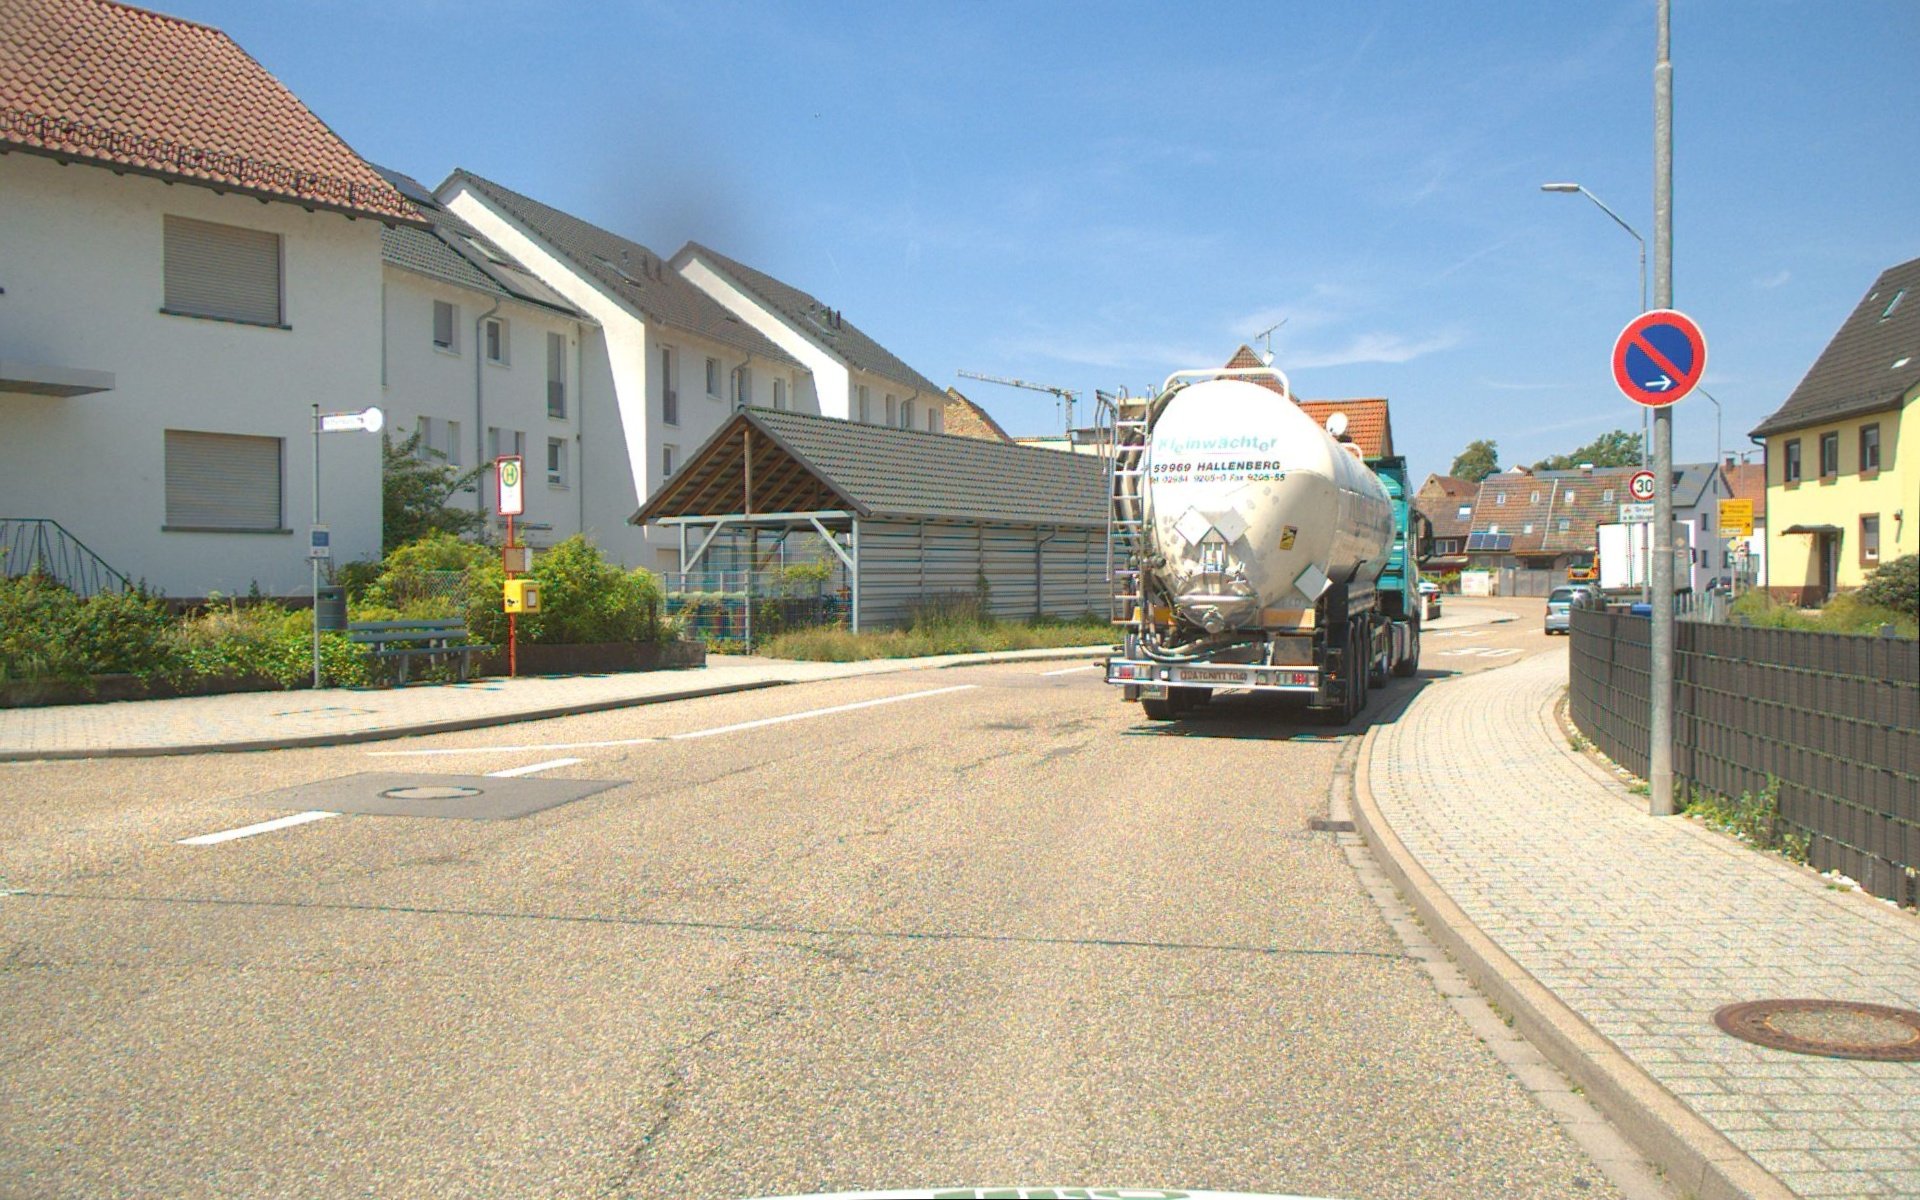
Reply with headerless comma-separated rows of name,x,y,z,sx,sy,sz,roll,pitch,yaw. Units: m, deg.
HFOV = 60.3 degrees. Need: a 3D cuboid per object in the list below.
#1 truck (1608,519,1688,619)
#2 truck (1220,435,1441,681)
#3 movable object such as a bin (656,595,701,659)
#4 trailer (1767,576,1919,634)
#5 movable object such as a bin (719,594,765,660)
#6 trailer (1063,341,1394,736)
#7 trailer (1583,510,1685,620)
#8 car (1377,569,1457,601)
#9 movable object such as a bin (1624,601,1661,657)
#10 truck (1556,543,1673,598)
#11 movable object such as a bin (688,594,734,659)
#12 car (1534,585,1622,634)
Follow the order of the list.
truck,32.381,-1.405,77.724,3.044,4.478,5.928,0,0,27
truck,6.938,-0.705,30.373,2.928,4.034,5.576,0,0,24
movable object such as a bin,-5.783,0.542,33.987,0.628,1.301,0.693,0,0,28
trailer,25.861,0.143,46.553,5.237,1.573,2.138,0,0,0
movable object such as a bin,-4.388,0.533,33.274,0.628,1.301,0.693,0,0,28
trailer,4.207,-0.651,22.766,2.890,4.017,11.625,0,0,17
trailer,29.371,-1.414,71.702,3.071,4.352,12.480,0,0,27
car,27.848,-0.924,100.900,1.862,1.816,4.458,-2,2,-39
movable object such as a bin,13.330,0.559,32.309,0.553,1.076,0.651,-1,0,13
truck,41.386,-1.824,104.578,7.345,3.237,2.648,1,0,-26
movable object such as a bin,-5.068,0.538,33.647,0.628,1.301,0.693,0,0,28
car,19.795,0.280,52.893,1.810,1.512,3.988,0,0,33
